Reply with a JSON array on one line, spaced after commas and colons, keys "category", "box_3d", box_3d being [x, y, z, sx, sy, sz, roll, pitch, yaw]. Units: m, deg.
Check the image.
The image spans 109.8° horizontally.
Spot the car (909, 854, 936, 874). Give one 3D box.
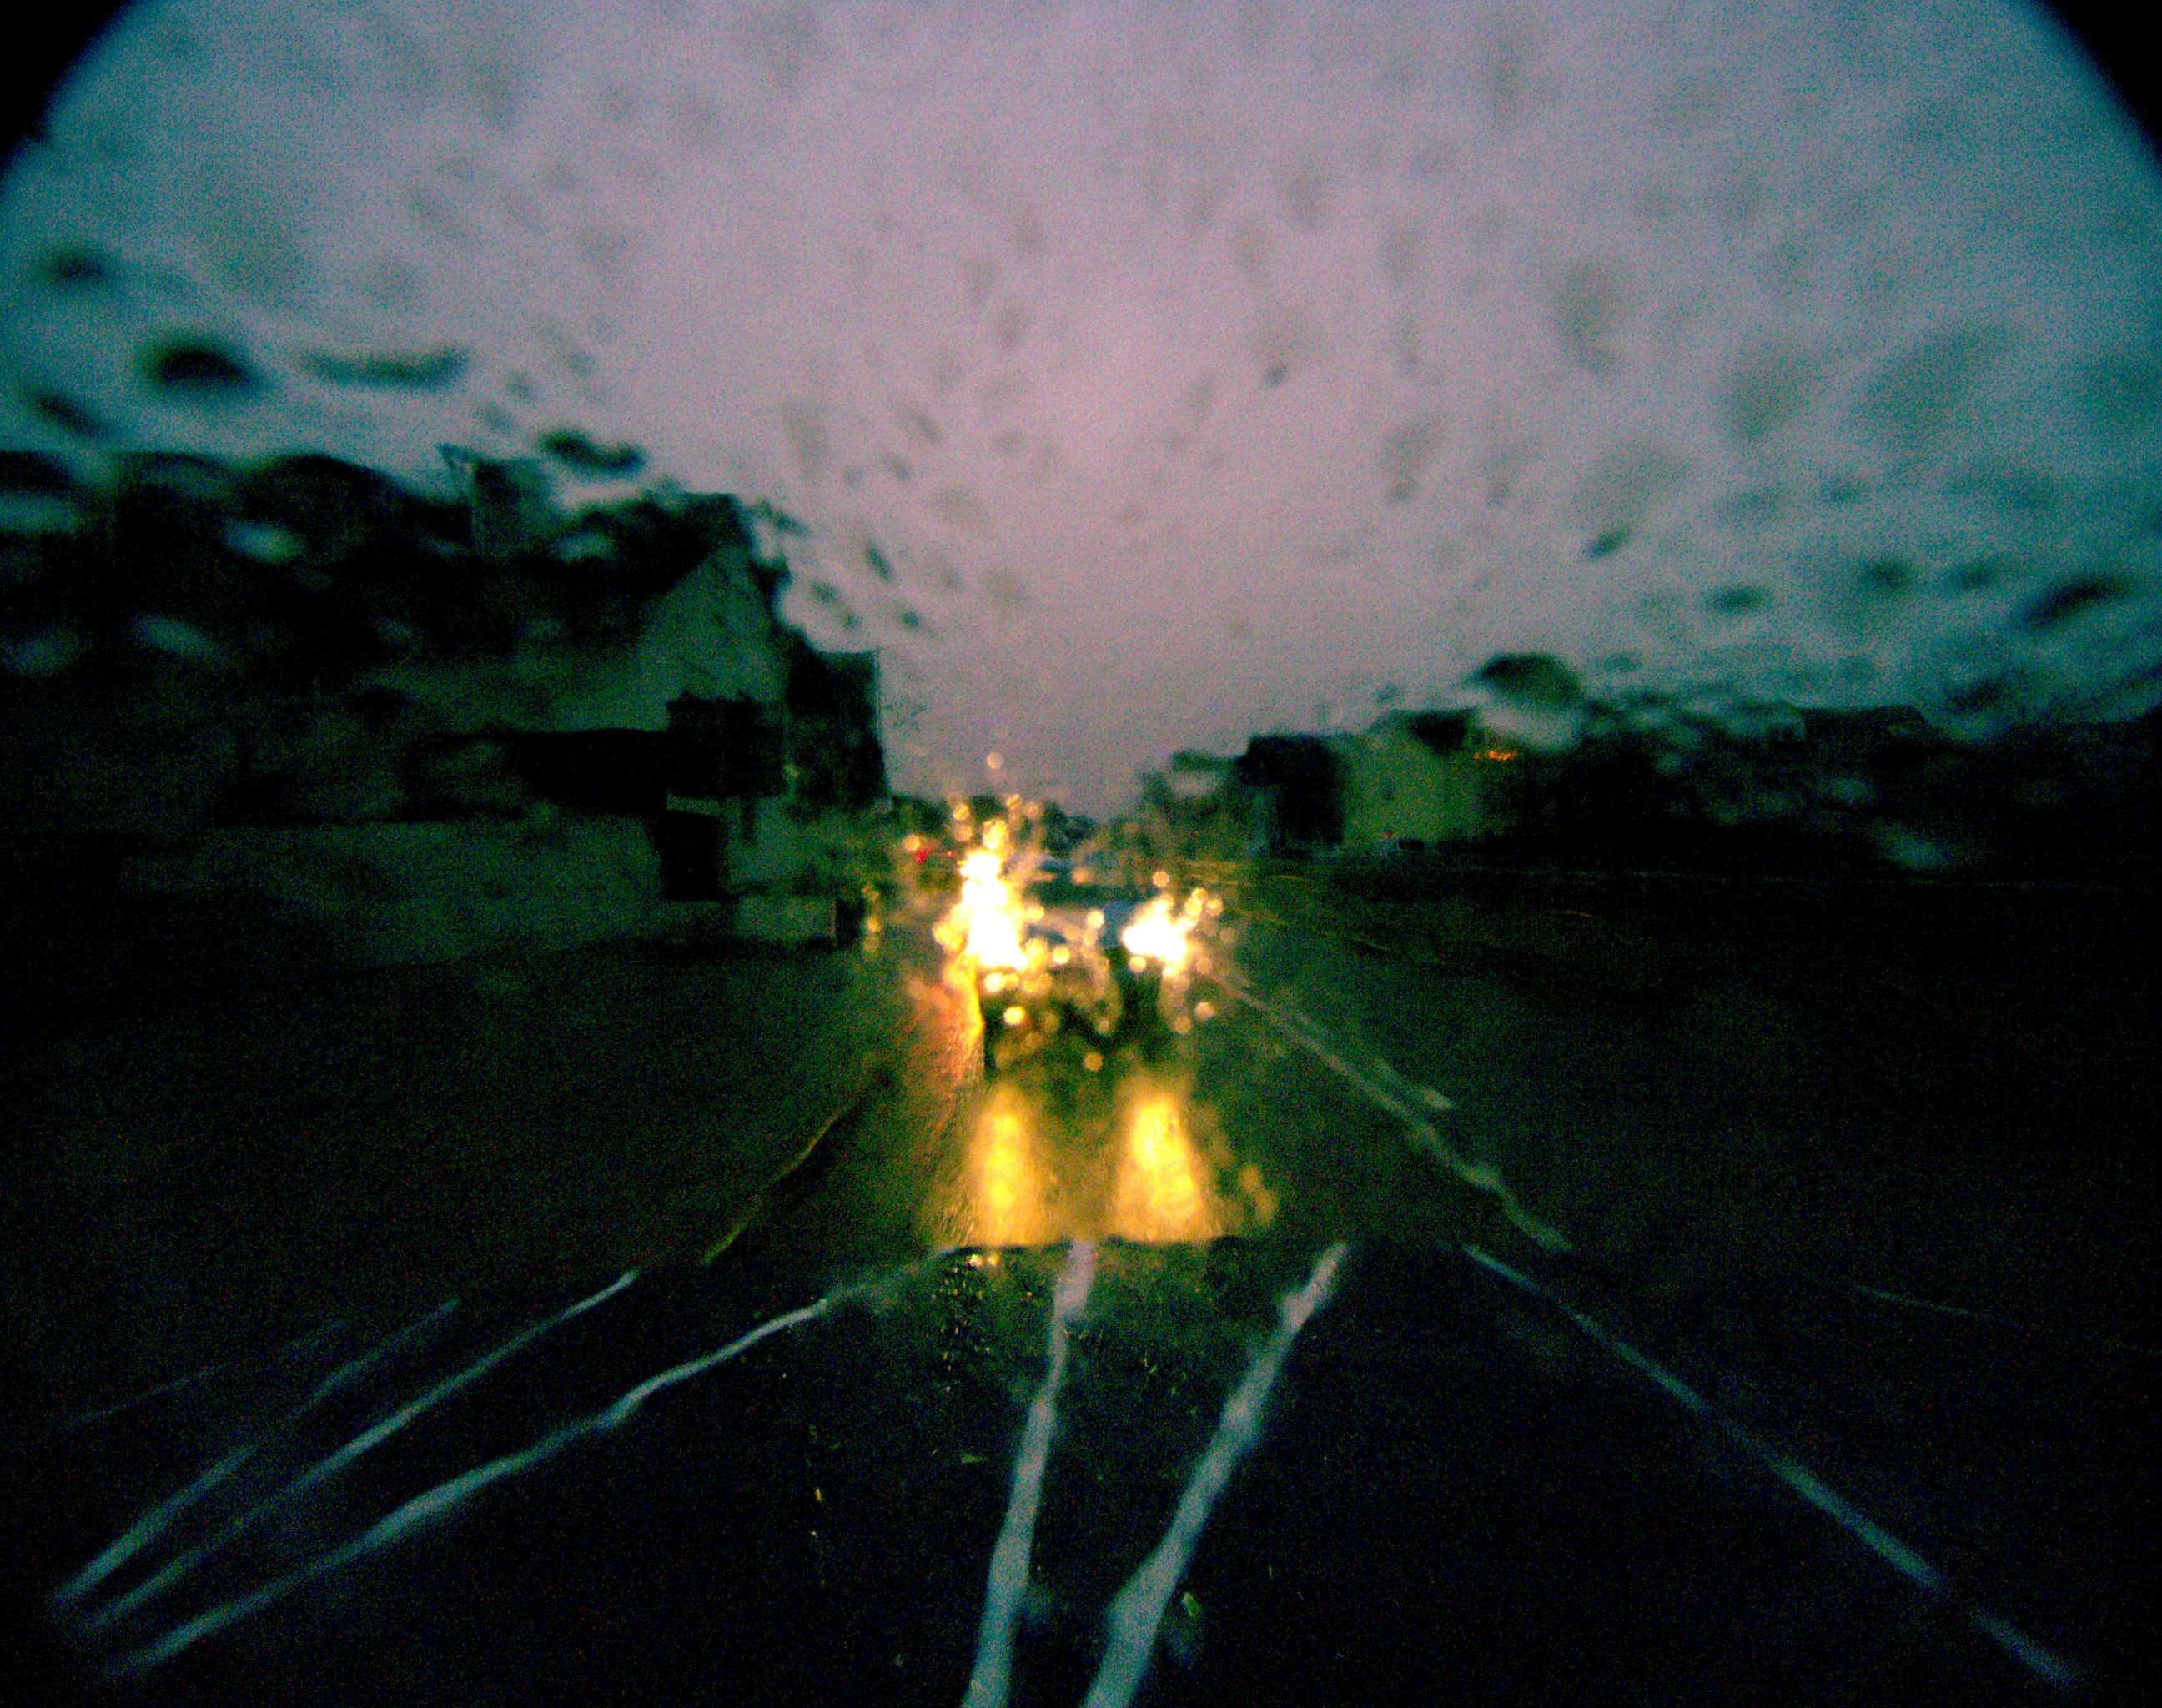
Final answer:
[{"category": "car", "box_3d": [-12.062, 0.716, 57.717, 1.659, 1.446, 4.231, 1, 0, -17]}]

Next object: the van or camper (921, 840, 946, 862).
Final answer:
[{"category": "van or camper", "box_3d": [-18.676, -0.350, 95.993, 2.249, 2.653, 6.544, -1, 0, -18]}]

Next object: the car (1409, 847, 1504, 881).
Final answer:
[{"category": "car", "box_3d": [18.197, 0.476, 37.086, 1.880, 1.563, 4.497, 0, 0, -10]}]

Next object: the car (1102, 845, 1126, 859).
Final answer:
[{"category": "car", "box_3d": [4.106, -0.234, 94.610, 1.823, 1.615, 3.979, -4, 1, -14]}]

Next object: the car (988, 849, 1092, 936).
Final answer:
[{"category": "car", "box_3d": [-1.096, 0.801, 17.594, 1.907, 1.630, 4.563, -4, 0, -8]}]

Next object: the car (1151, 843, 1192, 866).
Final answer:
[{"category": "car", "box_3d": [7.221, 0.001, 61.085, 1.806, 1.793, 3.854, -1, 1, -17]}]

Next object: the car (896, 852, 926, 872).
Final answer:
[{"category": "car", "box_3d": [-15.207, 0.675, 67.915, 1.964, 1.524, 5.000, -4, 2, -19]}]

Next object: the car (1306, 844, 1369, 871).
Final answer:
[{"category": "car", "box_3d": [16.065, 0.219, 47.799, 1.881, 1.589, 4.220, 0, 0, -12]}]

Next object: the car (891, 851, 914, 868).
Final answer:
[{"category": "car", "box_3d": [-17.501, 0.550, 74.373, 1.671, 1.567, 4.489, -1, 1, -19]}]

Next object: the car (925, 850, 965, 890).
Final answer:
[{"category": "car", "box_3d": [-6.502, 0.710, 36.545, 1.775, 1.771, 3.996, 1, 0, -9]}]

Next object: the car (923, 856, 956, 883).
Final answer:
[{"category": "car", "box_3d": [-7.899, 0.856, 42.183, 1.651, 1.407, 2.724, 1, 0, -14]}]

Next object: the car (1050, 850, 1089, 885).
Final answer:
[{"category": "car", "box_3d": [-0.633, 0.627, 38.438, 1.742, 1.643, 3.998, -1, 0, -4]}]

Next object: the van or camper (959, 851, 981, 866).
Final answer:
[{"category": "van or camper", "box_3d": [-10.584, 0.396, 72.432, 1.568, 1.347, 3.417, -1, 0, -16]}]

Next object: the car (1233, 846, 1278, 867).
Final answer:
[{"category": "car", "box_3d": [13.504, 0.139, 59.105, 1.775, 1.515, 4.026, -1, 1, -13]}]

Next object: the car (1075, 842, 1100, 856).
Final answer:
[{"category": "car", "box_3d": [0.873, -0.690, 106.588, 2.001, 1.894, 4.350, -5, 2, -20]}]

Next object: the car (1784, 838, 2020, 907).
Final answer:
[{"category": "car", "box_3d": [20.674, 0.394, 19.382, 1.570, 1.571, 3.817, 0, 1, -10]}]

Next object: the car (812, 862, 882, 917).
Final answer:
[{"category": "car", "box_3d": [-6.856, 0.956, 22.099, 1.772, 1.385, 3.907, 0, 0, -19]}]

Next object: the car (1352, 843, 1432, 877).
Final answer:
[{"category": "car", "box_3d": [17.138, 0.316, 42.155, 1.881, 1.768, 4.496, 0, 0, -12]}]

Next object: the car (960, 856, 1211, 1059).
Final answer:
[{"category": "car", "box_3d": [-0.115, 0.850, 8.280, 1.999, 1.526, 3.998, -3, 0, -5]}]

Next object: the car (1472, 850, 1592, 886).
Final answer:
[{"category": "car", "box_3d": [18.936, 0.560, 32.158, 1.880, 1.425, 4.497, 0, 0, -10]}]

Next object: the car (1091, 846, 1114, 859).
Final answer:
[{"category": "car", "box_3d": [2.834, -0.248, 99.418, 1.903, 1.509, 3.994, -4, 3, -14]}]
